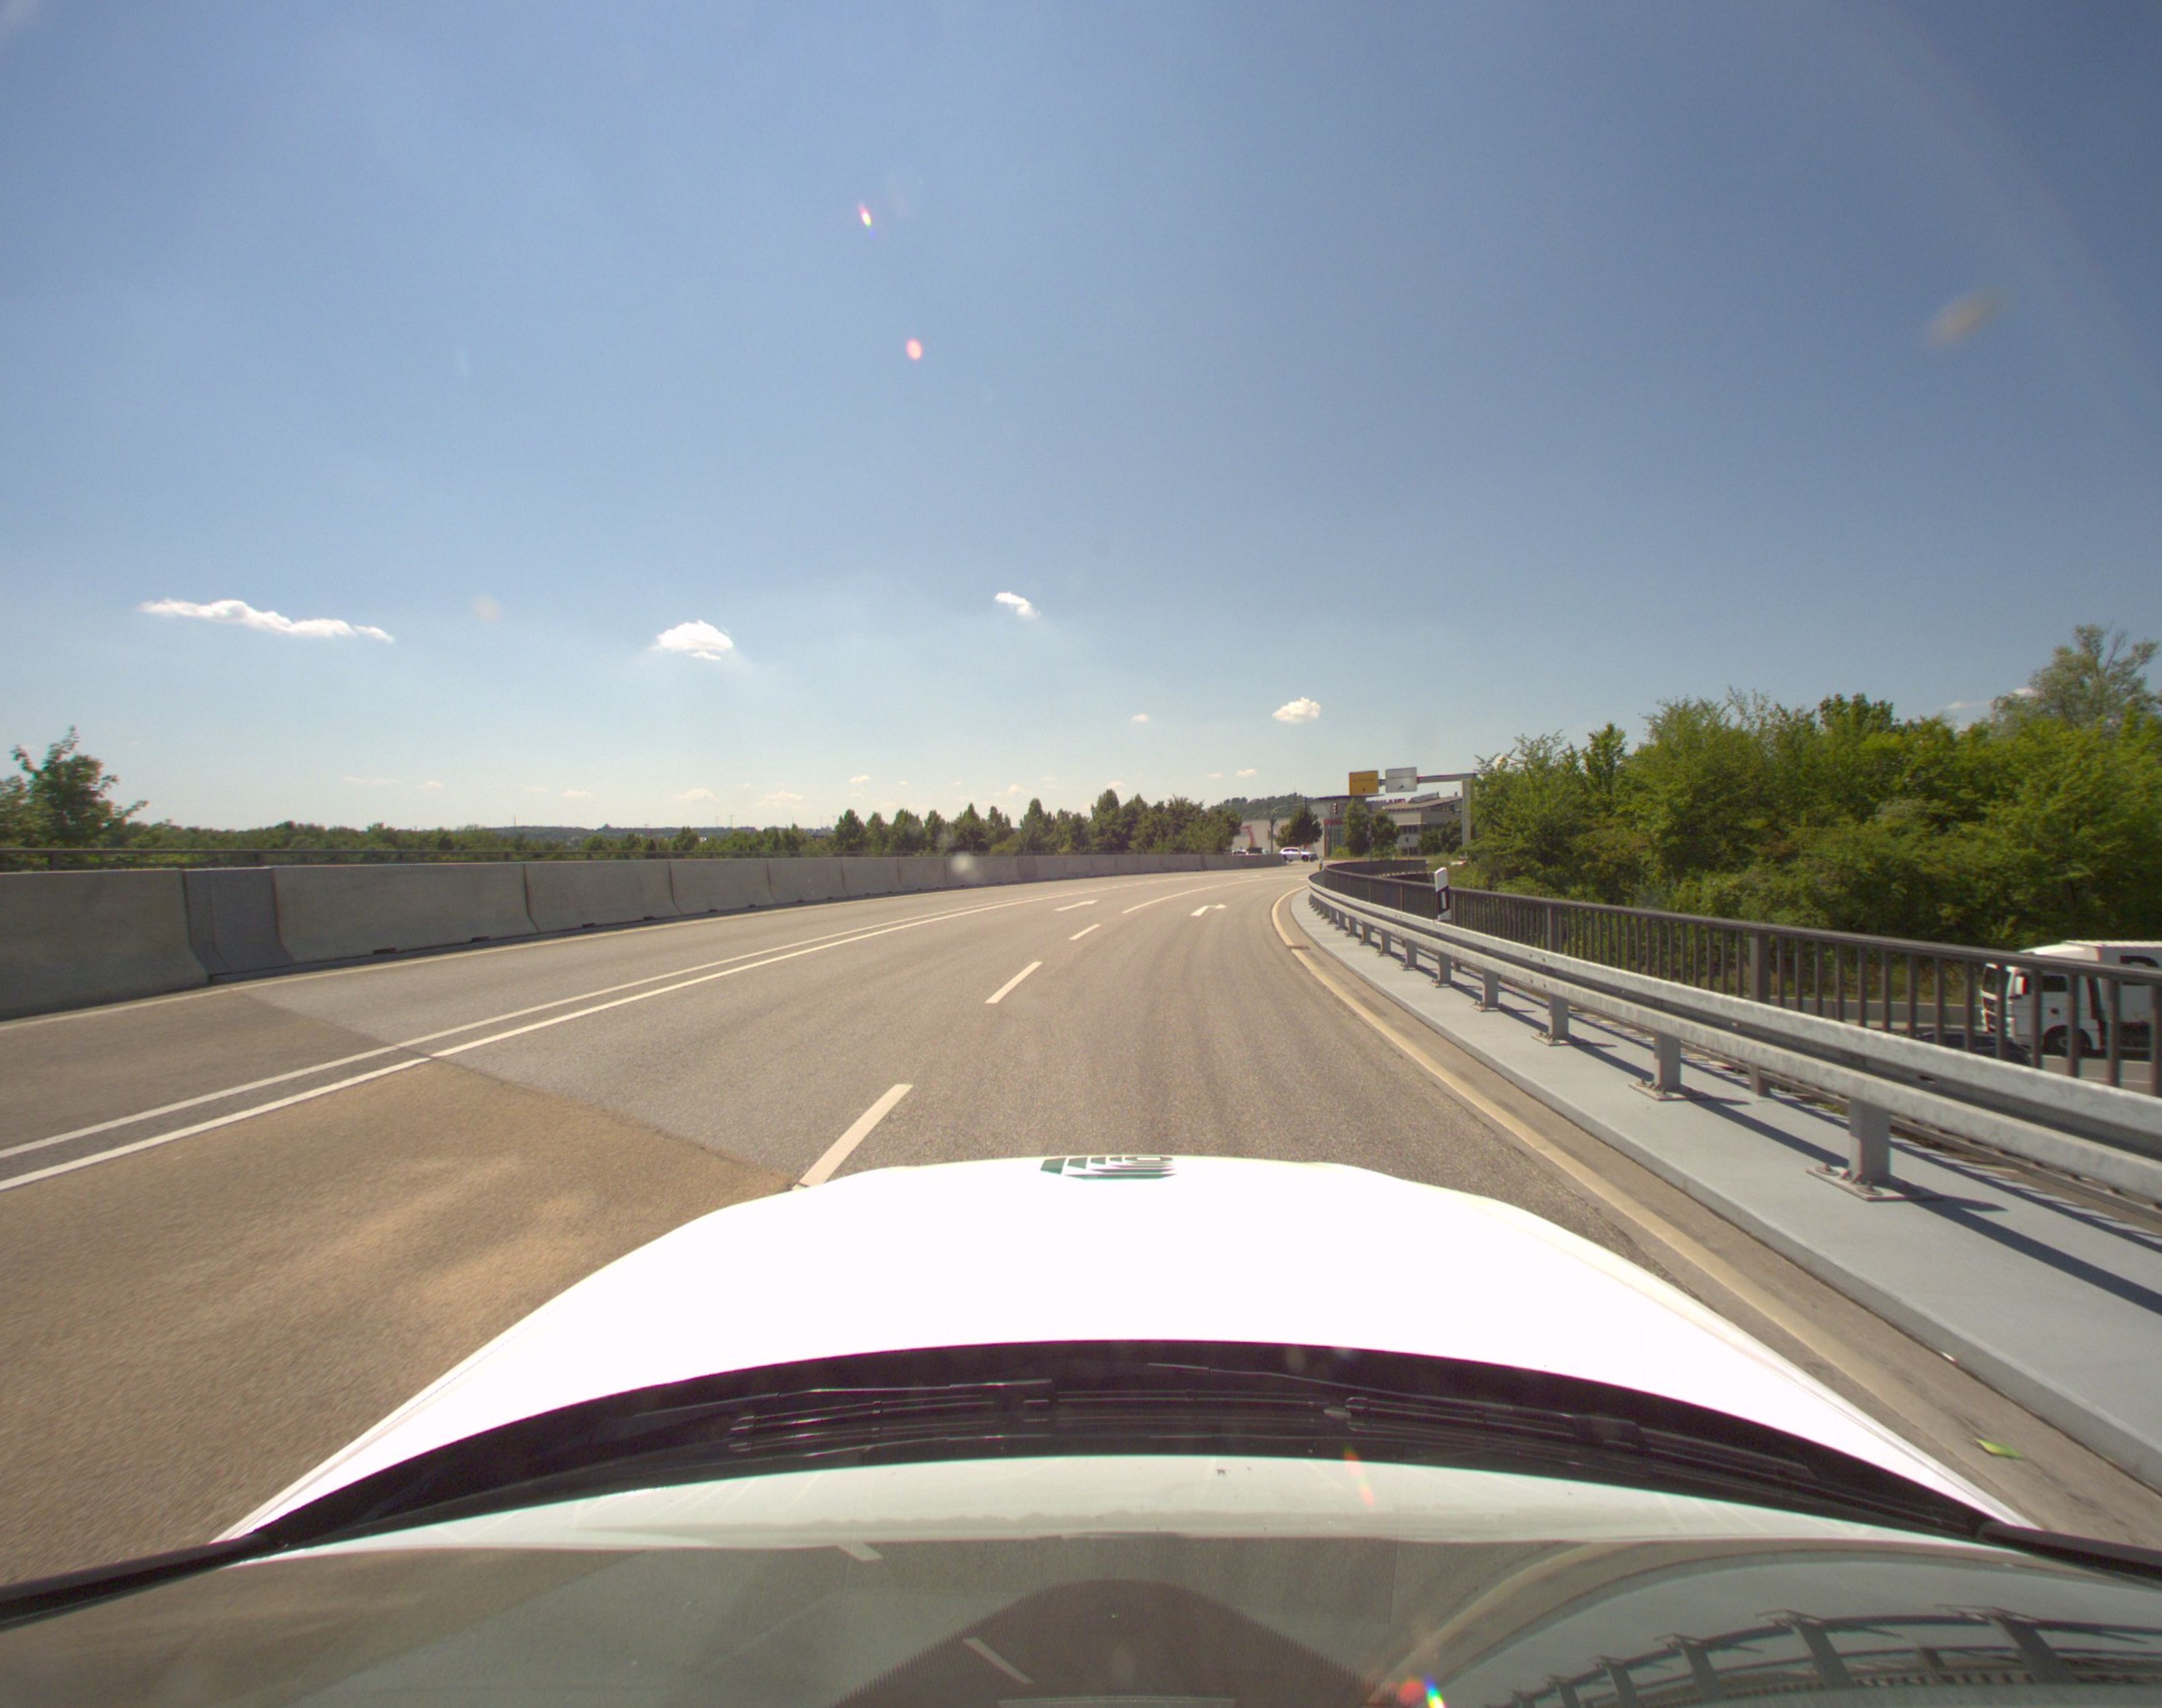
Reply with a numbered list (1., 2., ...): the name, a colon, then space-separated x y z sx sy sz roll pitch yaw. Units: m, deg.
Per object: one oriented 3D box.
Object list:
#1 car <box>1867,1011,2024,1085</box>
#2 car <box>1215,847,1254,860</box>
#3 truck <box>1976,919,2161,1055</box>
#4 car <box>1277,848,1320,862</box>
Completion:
1. car: 28.126 6.282 26.640 3.196 1.677 1.727 -1 -1 35
2. car: 18.649 -0.073 99.032 4.083 1.486 2.012 2 2 42
3. truck: 39.508 4.720 28.313 10.871 4.348 2.918 -1 -1 32
4. car: 24.858 0.106 93.043 4.340 1.505 2.012 -1 -1 43
